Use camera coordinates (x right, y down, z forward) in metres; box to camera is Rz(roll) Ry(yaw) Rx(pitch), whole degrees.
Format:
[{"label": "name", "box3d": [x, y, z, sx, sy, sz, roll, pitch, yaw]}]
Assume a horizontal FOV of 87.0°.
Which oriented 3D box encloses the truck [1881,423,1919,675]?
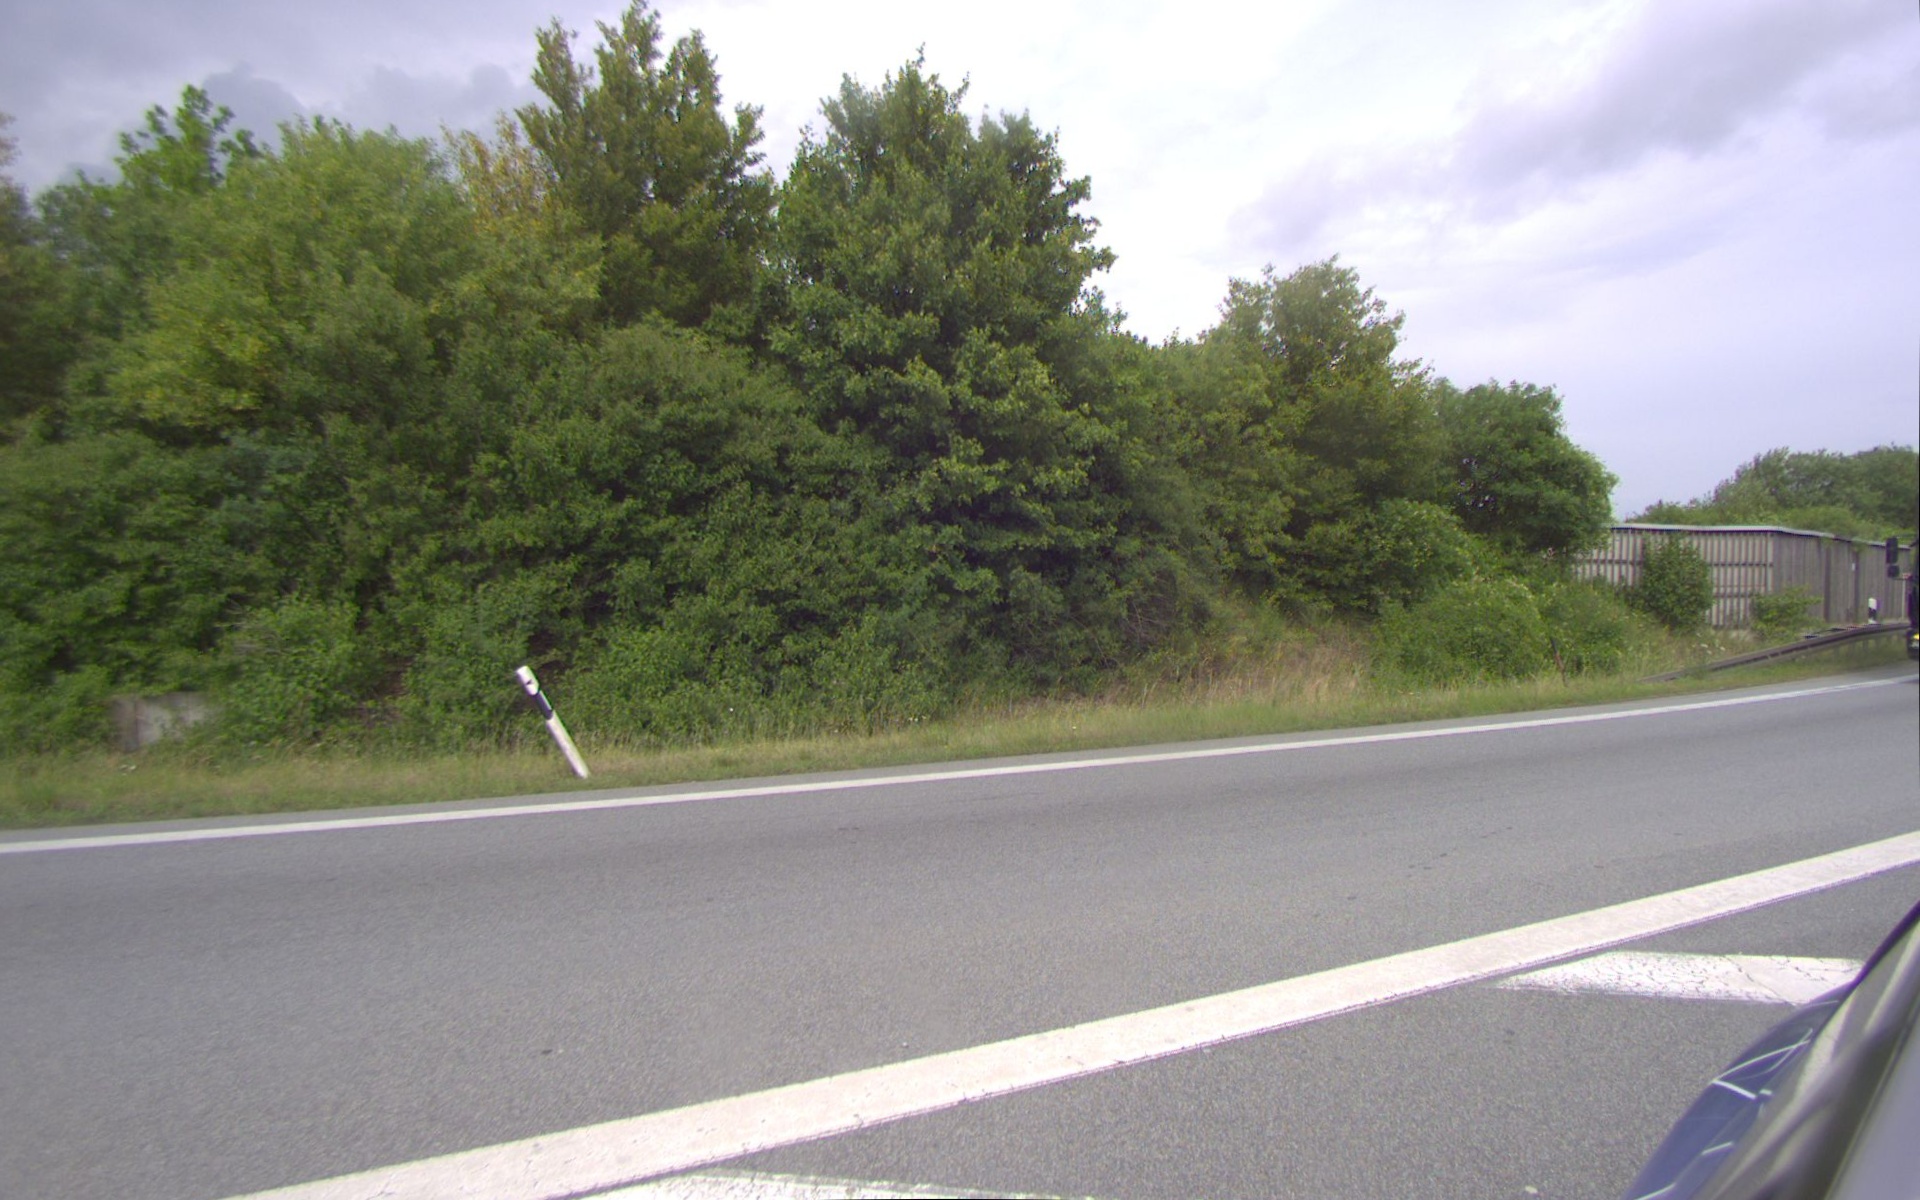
[{"label": "truck", "box3d": [19.956, -0.869, 18.268, 10.148, 4.004, 3.026, -1, 1, -36]}]
